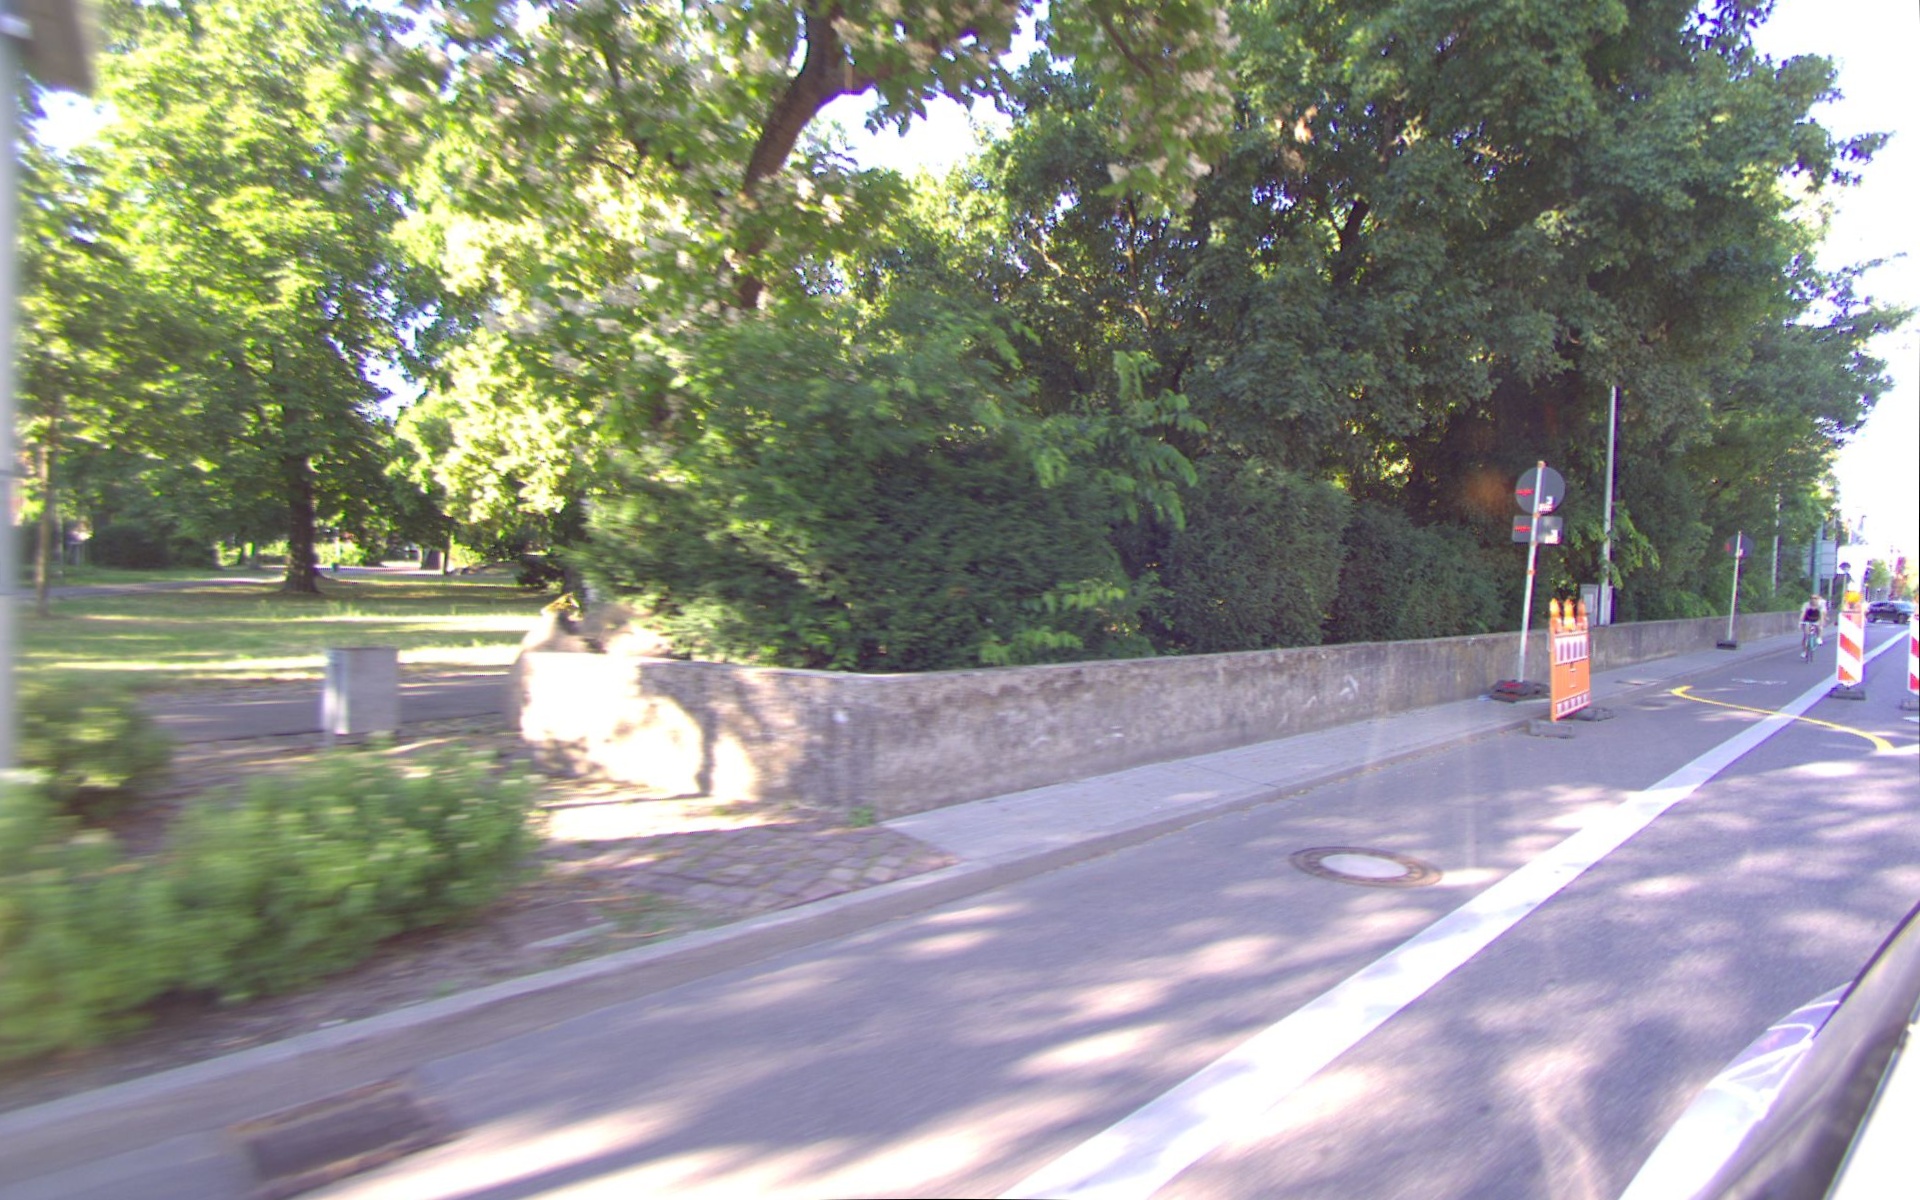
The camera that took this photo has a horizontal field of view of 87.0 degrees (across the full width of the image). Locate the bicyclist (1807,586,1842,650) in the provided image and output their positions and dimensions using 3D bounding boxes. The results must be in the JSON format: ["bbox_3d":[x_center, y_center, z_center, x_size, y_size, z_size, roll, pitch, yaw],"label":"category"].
[{"bbox_3d":[19.748,0.394,23.121,0.515,1.424,0.792,3,2,45],"label":"bicyclist"}]

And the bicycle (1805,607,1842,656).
[{"bbox_3d":[19.762,0.708,23.149,1.481,1.037,0.505,0,2,-45],"label":"bicycle"}]

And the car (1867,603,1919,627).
[{"bbox_3d":[63.203,1.017,67.145,1.958,1.371,4.010,1,2,-19],"label":"car"}]
